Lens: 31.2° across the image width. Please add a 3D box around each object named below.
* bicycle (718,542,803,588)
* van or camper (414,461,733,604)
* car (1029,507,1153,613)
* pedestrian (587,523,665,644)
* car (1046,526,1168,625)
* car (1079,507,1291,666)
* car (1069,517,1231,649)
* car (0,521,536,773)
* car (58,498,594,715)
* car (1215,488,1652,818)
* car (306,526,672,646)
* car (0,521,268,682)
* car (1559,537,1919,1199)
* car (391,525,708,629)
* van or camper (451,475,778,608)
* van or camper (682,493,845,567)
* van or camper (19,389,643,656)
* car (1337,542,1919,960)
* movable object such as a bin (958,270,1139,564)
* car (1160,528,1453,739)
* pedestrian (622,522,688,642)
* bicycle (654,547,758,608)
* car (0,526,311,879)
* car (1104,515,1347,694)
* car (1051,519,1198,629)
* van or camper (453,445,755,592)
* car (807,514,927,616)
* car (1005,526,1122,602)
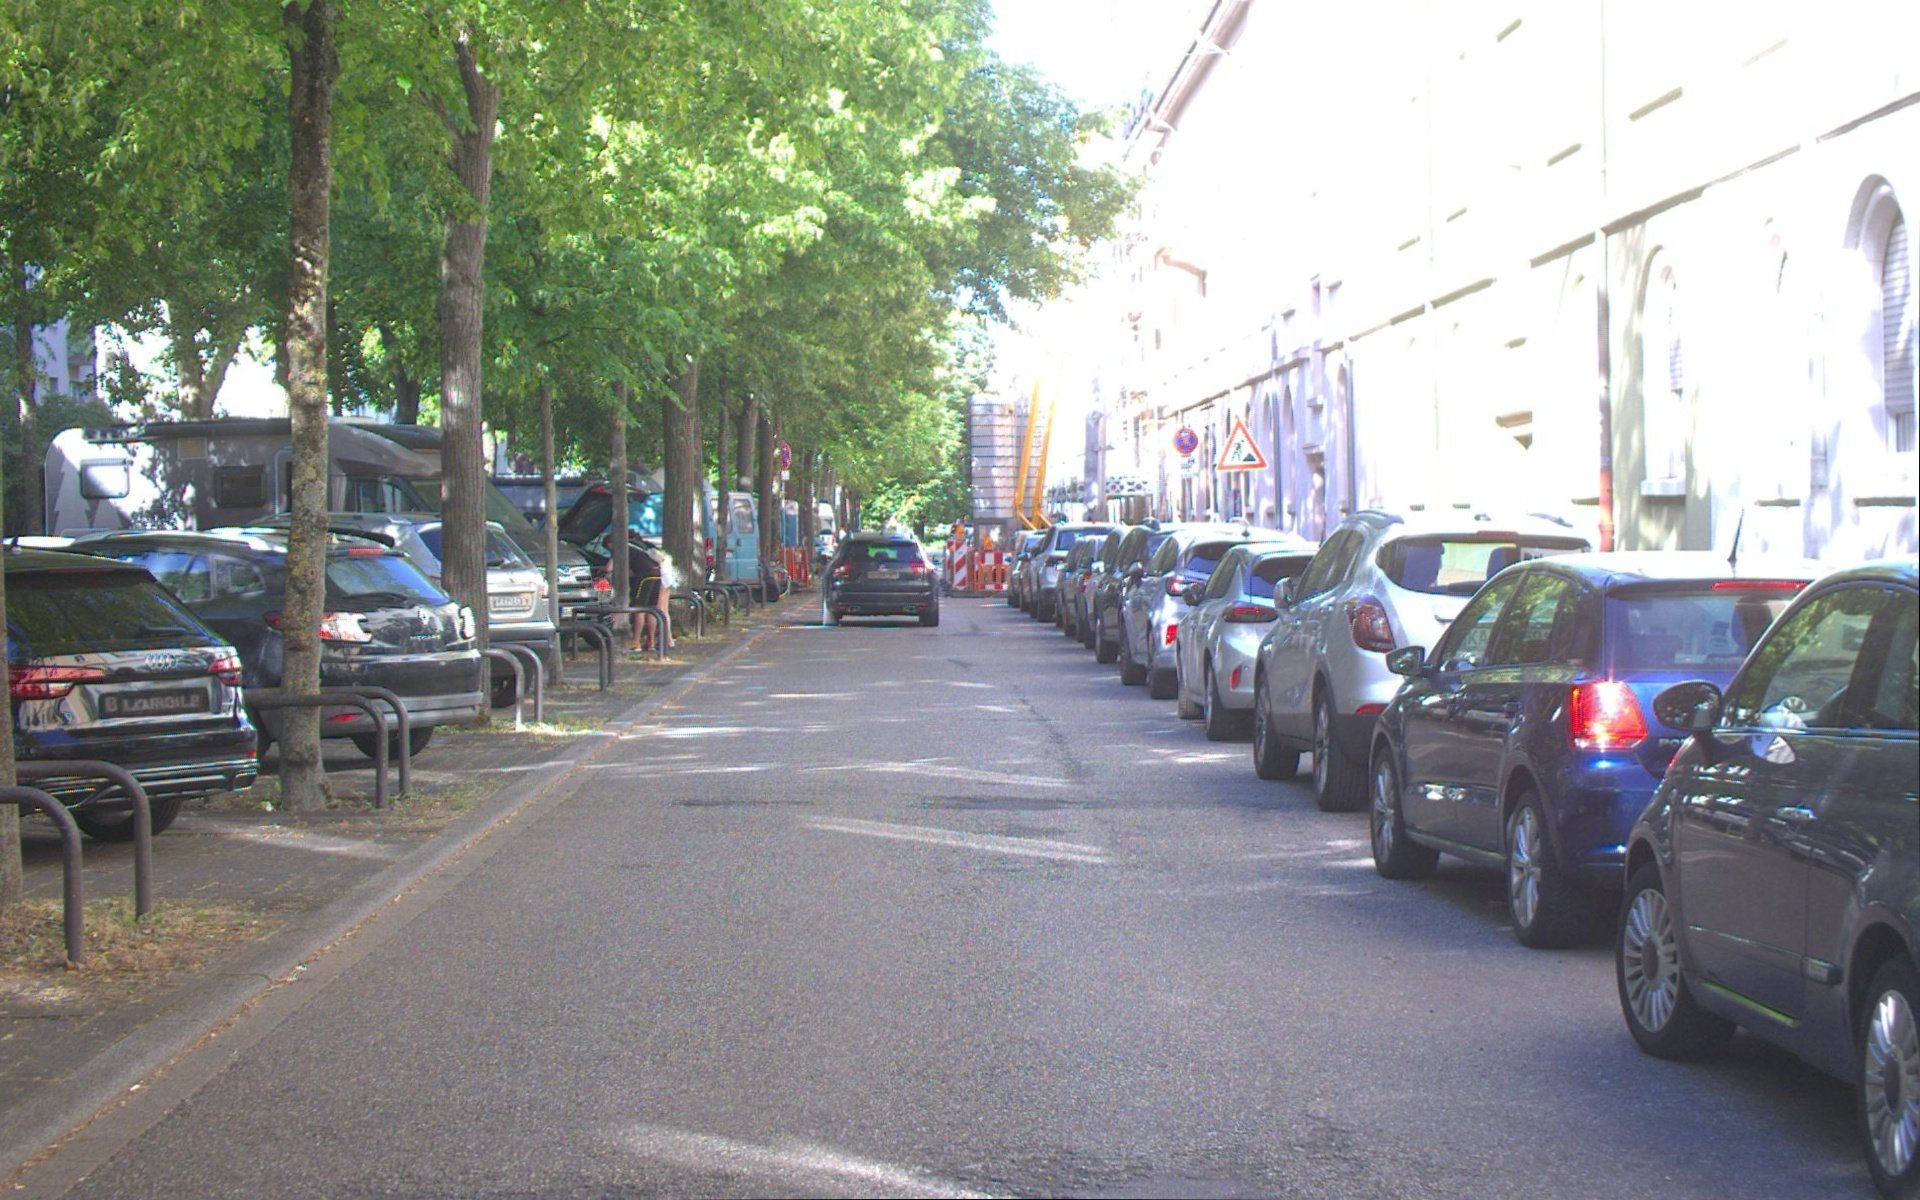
[{"bbox_3d":[-4.484,-0.783,77.381,1.899,1.003,0.430,-1,1,23],"label":"bicycle"},{"bbox_3d":[-7.551,-1.303,67.008,5.877,2.628,2.252,-1,2,29],"label":"van or camper"},{"bbox_3d":[2.154,-0.707,57.670,1.816,1.668,4.674,-1,2,-1],"label":"car"},{"bbox_3d":[-4.073,-0.200,41.910,0.710,1.451,0.596,-1,1,22],"label":"pedestrian"},{"bbox_3d":[2.207,-0.400,52.265,1.617,1.408,3.788,-1,2,-1],"label":"car"},{"bbox_3d":[2.383,-0.192,37.329,1.722,1.591,4.159,-1,2,-4],"label":"car"},{"bbox_3d":[2.311,-0.248,42.491,1.630,1.529,3.593,-1,1,-2],"label":"car"},{"bbox_3d":[-4.962,0.262,21.762,4.417,1.457,1.713,0,1,32],"label":"car"},{"bbox_3d":[-5.256,0.040,28.414,4.140,1.673,1.757,0,2,28],"label":"car"},{"bbox_3d":[2.621,0.220,19.957,1.722,1.680,4.159,-1,2,-3],"label":"car"},{"bbox_3d":[-5.915,-0.176,43.114,4.321,1.419,1.673,0,2,26],"label":"car"},{"bbox_3d":[-8.847,0.014,34.342,3.539,1.502,1.754,-1,2,33],"label":"car"},{"bbox_3d":[2.766,0.603,8.869,1.621,1.493,3.596,-1,1,-3],"label":"car"},{"bbox_3d":[-6.009,-0.340,50.179,4.482,1.438,1.729,0,2,32],"label":"car"},{"bbox_3d":[-6.315,-1.067,62.771,5.504,2.267,2.218,-1,2,23],"label":"van or camper"},{"bbox_3d":[-6.968,-2.480,121.787,5.342,2.466,2.290,-1,2,31],"label":"van or camper"},{"bbox_3d":[-7.490,-0.875,40.658,7.236,2.919,2.311,-1,2,26],"label":"van or camper"},{"bbox_3d":[2.665,0.492,13.900,1.549,1.389,3.862,-1,2,-5],"label":"car"},{"bbox_3d":[2.092,-4.235,80.923,3.485,6.736,2.364,0,1,32],"label":"movable object such as a bin"},{"bbox_3d":[2.566,0.193,26.328,1.722,1.427,4.158,-1,2,-1],"label":"car"},{"bbox_3d":[-3.773,-0.225,42.556,0.615,1.451,0.519,-1,1,22],"label":"pedestrian"},{"bbox_3d":[-4.367,-0.392,59.116,1.719,1.002,0.511,-2,1,-31],"label":"bicycle"},{"bbox_3d":[-5.381,0.418,16.232,4.483,1.450,1.784,0,2,31],"label":"car"},{"bbox_3d":[2.408,-0.013,32.080,1.722,1.523,4.159,-1,2,-3],"label":"car"},{"bbox_3d":[2.221,-0.392,47.265,1.630,1.408,4.089,-1,2,-2],"label":"car"},{"bbox_3d":[-8.312,-1.882,80.101,6.666,3.229,2.492,-1,2,28],"label":"van or camper"},{"bbox_3d":[-1.480,-0.578,54.386,1.797,1.498,3.586,-2,2,-2],"label":"car"},{"bbox_3d":[1.994,-0.734,67.336,1.993,1.404,4.501,-1,2,-2],"label":"car"}]
